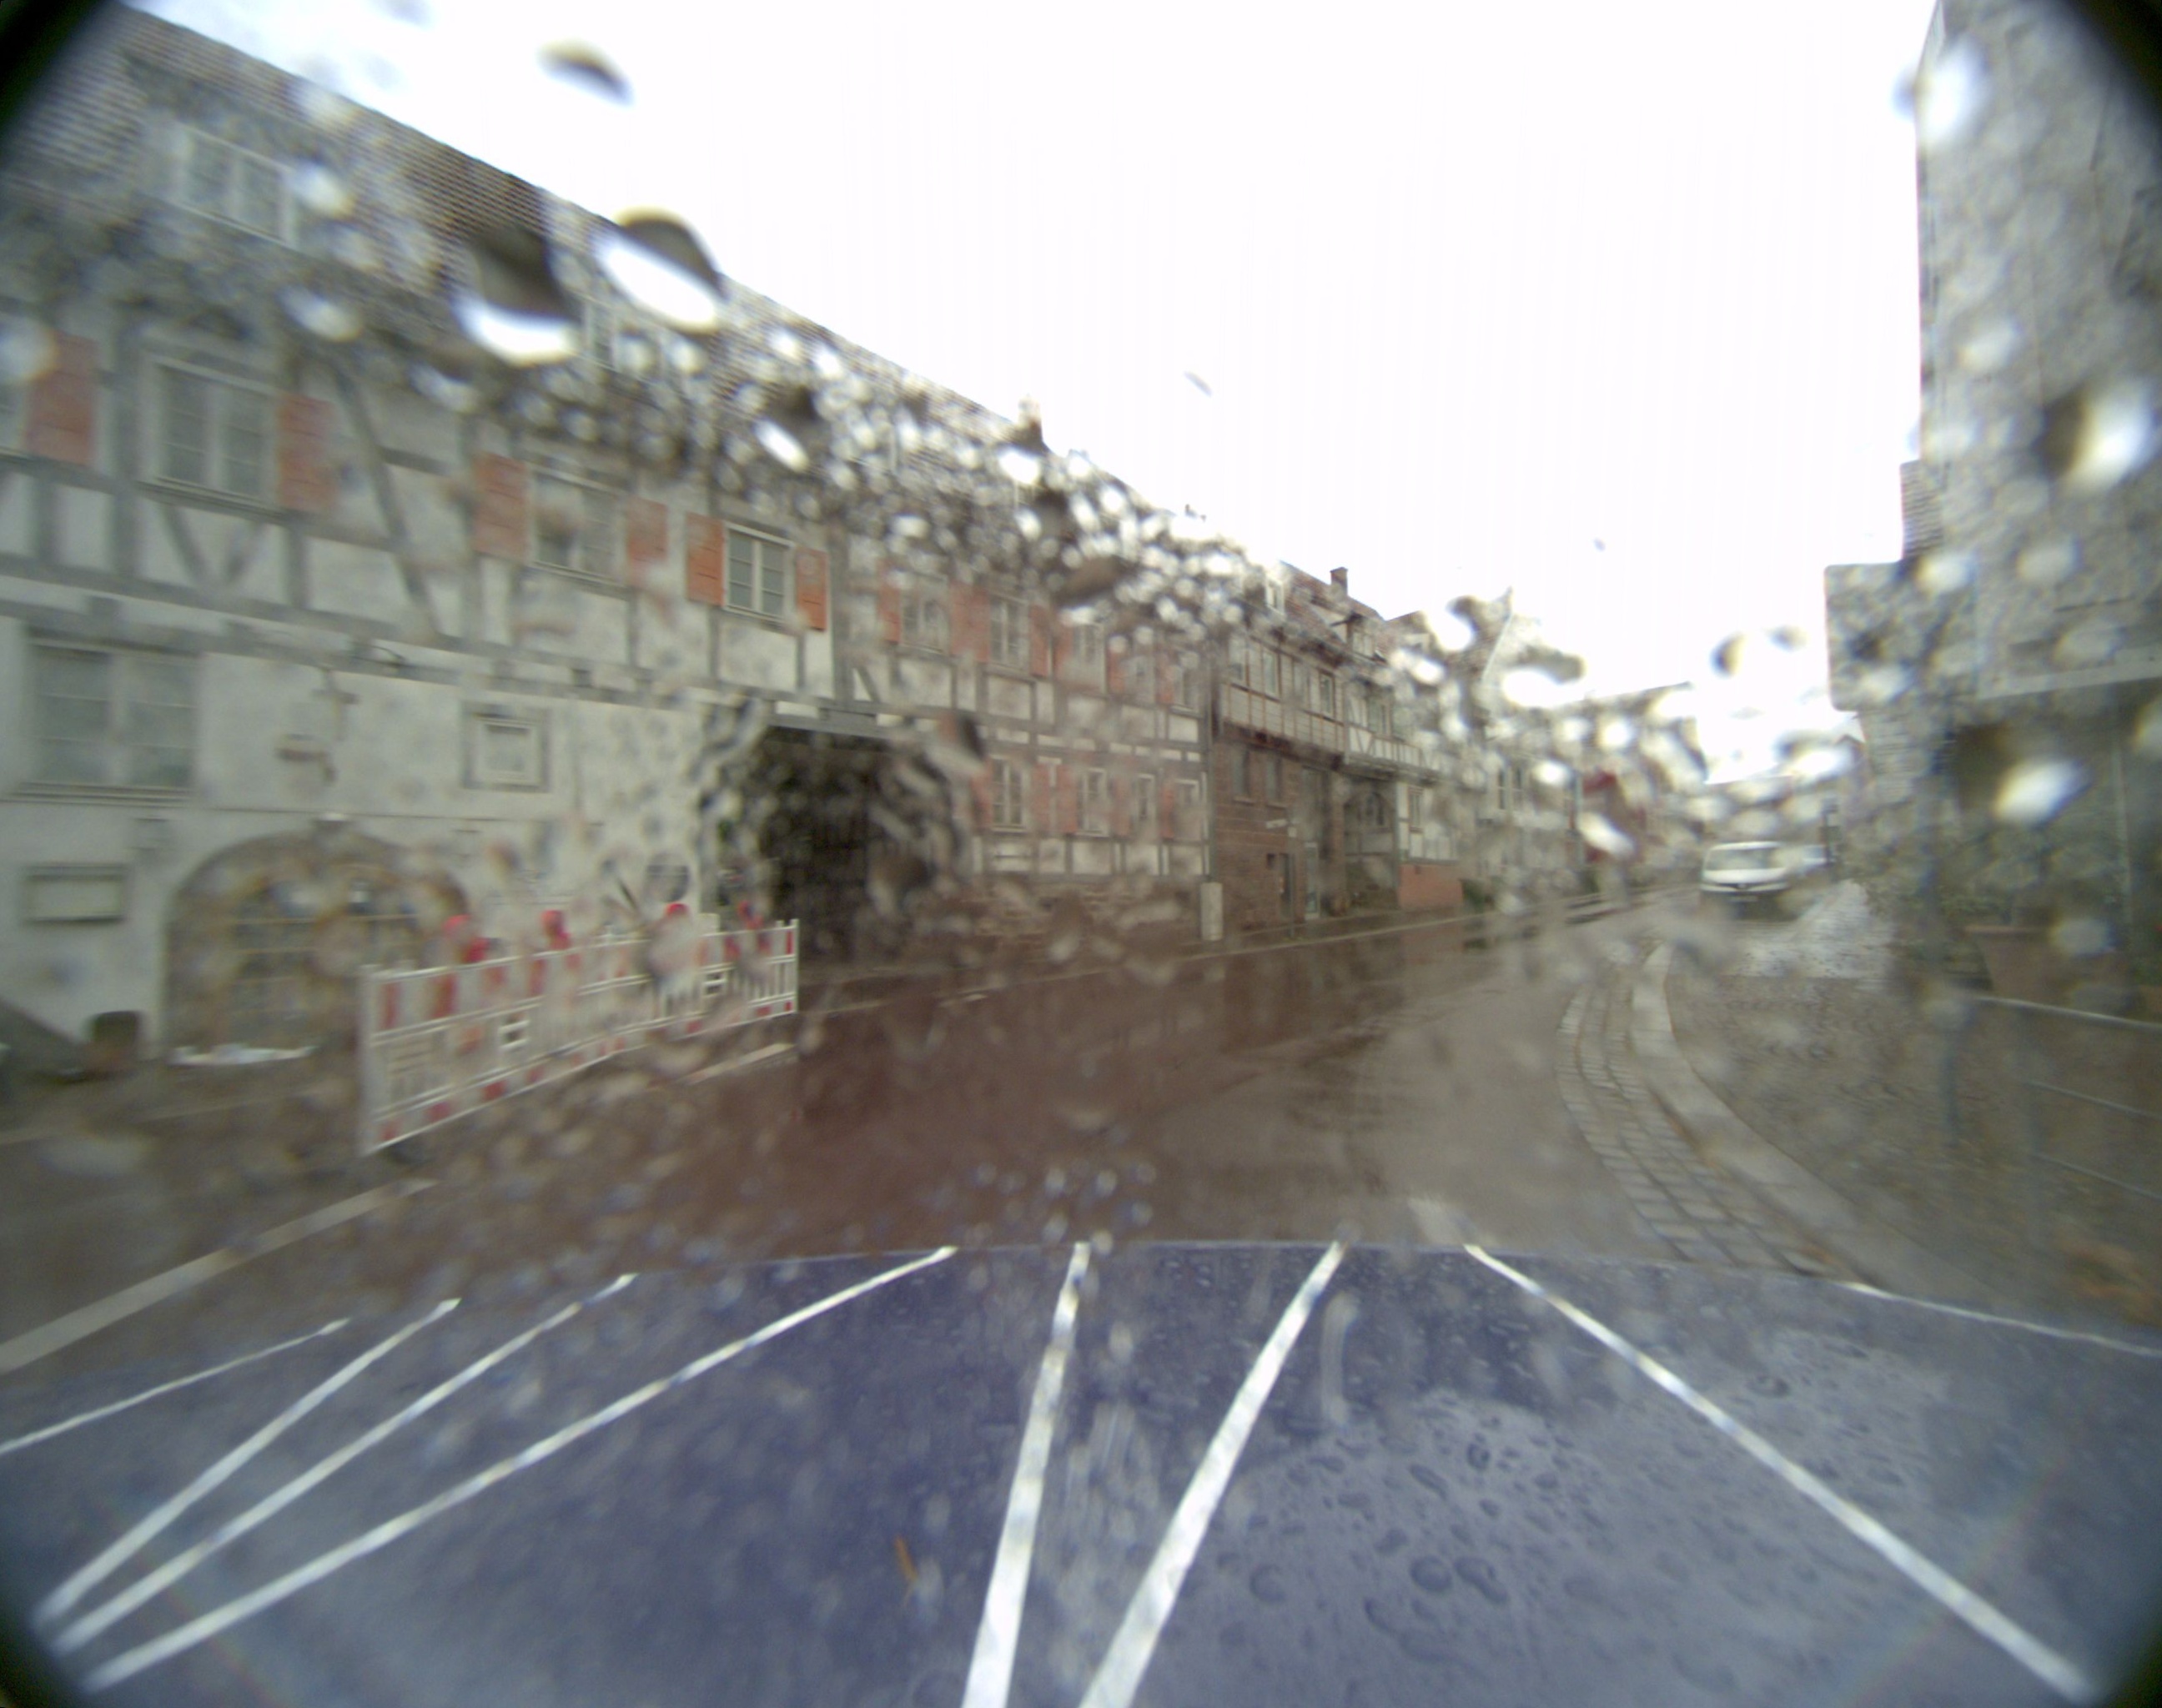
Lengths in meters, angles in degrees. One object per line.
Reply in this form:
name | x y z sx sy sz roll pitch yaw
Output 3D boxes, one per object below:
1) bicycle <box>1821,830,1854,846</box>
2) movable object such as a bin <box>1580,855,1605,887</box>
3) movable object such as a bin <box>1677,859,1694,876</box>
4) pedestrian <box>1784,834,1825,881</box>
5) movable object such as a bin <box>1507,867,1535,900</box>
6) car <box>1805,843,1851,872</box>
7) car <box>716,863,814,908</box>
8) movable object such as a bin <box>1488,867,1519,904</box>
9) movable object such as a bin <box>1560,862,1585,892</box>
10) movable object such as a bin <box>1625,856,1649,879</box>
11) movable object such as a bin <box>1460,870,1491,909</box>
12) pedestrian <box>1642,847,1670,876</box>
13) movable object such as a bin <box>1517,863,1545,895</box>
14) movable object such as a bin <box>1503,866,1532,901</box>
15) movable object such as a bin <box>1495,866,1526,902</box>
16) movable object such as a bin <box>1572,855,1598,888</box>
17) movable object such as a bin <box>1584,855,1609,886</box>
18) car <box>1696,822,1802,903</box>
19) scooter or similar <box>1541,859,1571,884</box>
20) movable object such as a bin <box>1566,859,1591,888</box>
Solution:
bicycle | 59.584 -1.251 59.822 1.747 1.157 0.445 -4 -1 27
movable object such as a bin | 21.174 0.722 31.458 0.633 1.282 0.638 -2 -1 -39
movable object such as a bin | 38.132 0.862 47.920 0.648 1.074 0.729 -1 -2 -42
pedestrian | 28.996 0.141 30.458 1.118 1.794 1.036 0 -3 -43
movable object such as a bin | 14.939 1.009 25.788 0.670 1.075 0.589 -2 0 45
car | 44.735 0.184 45.481 4.008 1.541 1.793 -2 -2 -44
car | -11.373 1.120 27.380 2.992 1.442 1.409 -2 -1 -34
movable object such as a bin | 13.541 1.001 24.367 0.581 1.140 0.638 -2 -1 -39
movable object such as a bin | 19.439 0.909 30.069 0.633 1.124 0.617 -2 -1 -40
movable object such as a bin | 28.308 0.685 38.696 0.804 1.124 0.864 -4 -1 45
movable object such as a bin | 11.822 1.061 22.779 0.600 1.121 0.609 -2 -1 -44
pedestrian | 34.217 0.471 45.232 1.178 1.687 1.180 -2 -1 44
movable object such as a bin | 15.846 0.889 26.740 0.678 1.090 0.652 -5 -2 43
movable object such as a bin | 14.509 0.984 25.255 0.638 1.140 0.633 -4 -1 44
movable object such as a bin | 14.010 0.989 24.797 0.605 1.140 0.638 -2 -1 -39
movable object such as a bin | 20.531 0.722 30.951 0.633 1.282 0.638 -2 -1 -39
movable object such as a bin | 21.903 0.697 32.271 0.633 1.282 0.638 -2 -1 -38
car | 16.960 0.189 19.209 1.725 1.814 4.437 -4 -2 44
scooter or similar | 22.885 0.848 36.587 1.448 1.139 0.665 -2 -1 -37
movable object such as a bin | 19.990 0.800 30.538 0.633 1.124 0.617 -2 -1 -39
